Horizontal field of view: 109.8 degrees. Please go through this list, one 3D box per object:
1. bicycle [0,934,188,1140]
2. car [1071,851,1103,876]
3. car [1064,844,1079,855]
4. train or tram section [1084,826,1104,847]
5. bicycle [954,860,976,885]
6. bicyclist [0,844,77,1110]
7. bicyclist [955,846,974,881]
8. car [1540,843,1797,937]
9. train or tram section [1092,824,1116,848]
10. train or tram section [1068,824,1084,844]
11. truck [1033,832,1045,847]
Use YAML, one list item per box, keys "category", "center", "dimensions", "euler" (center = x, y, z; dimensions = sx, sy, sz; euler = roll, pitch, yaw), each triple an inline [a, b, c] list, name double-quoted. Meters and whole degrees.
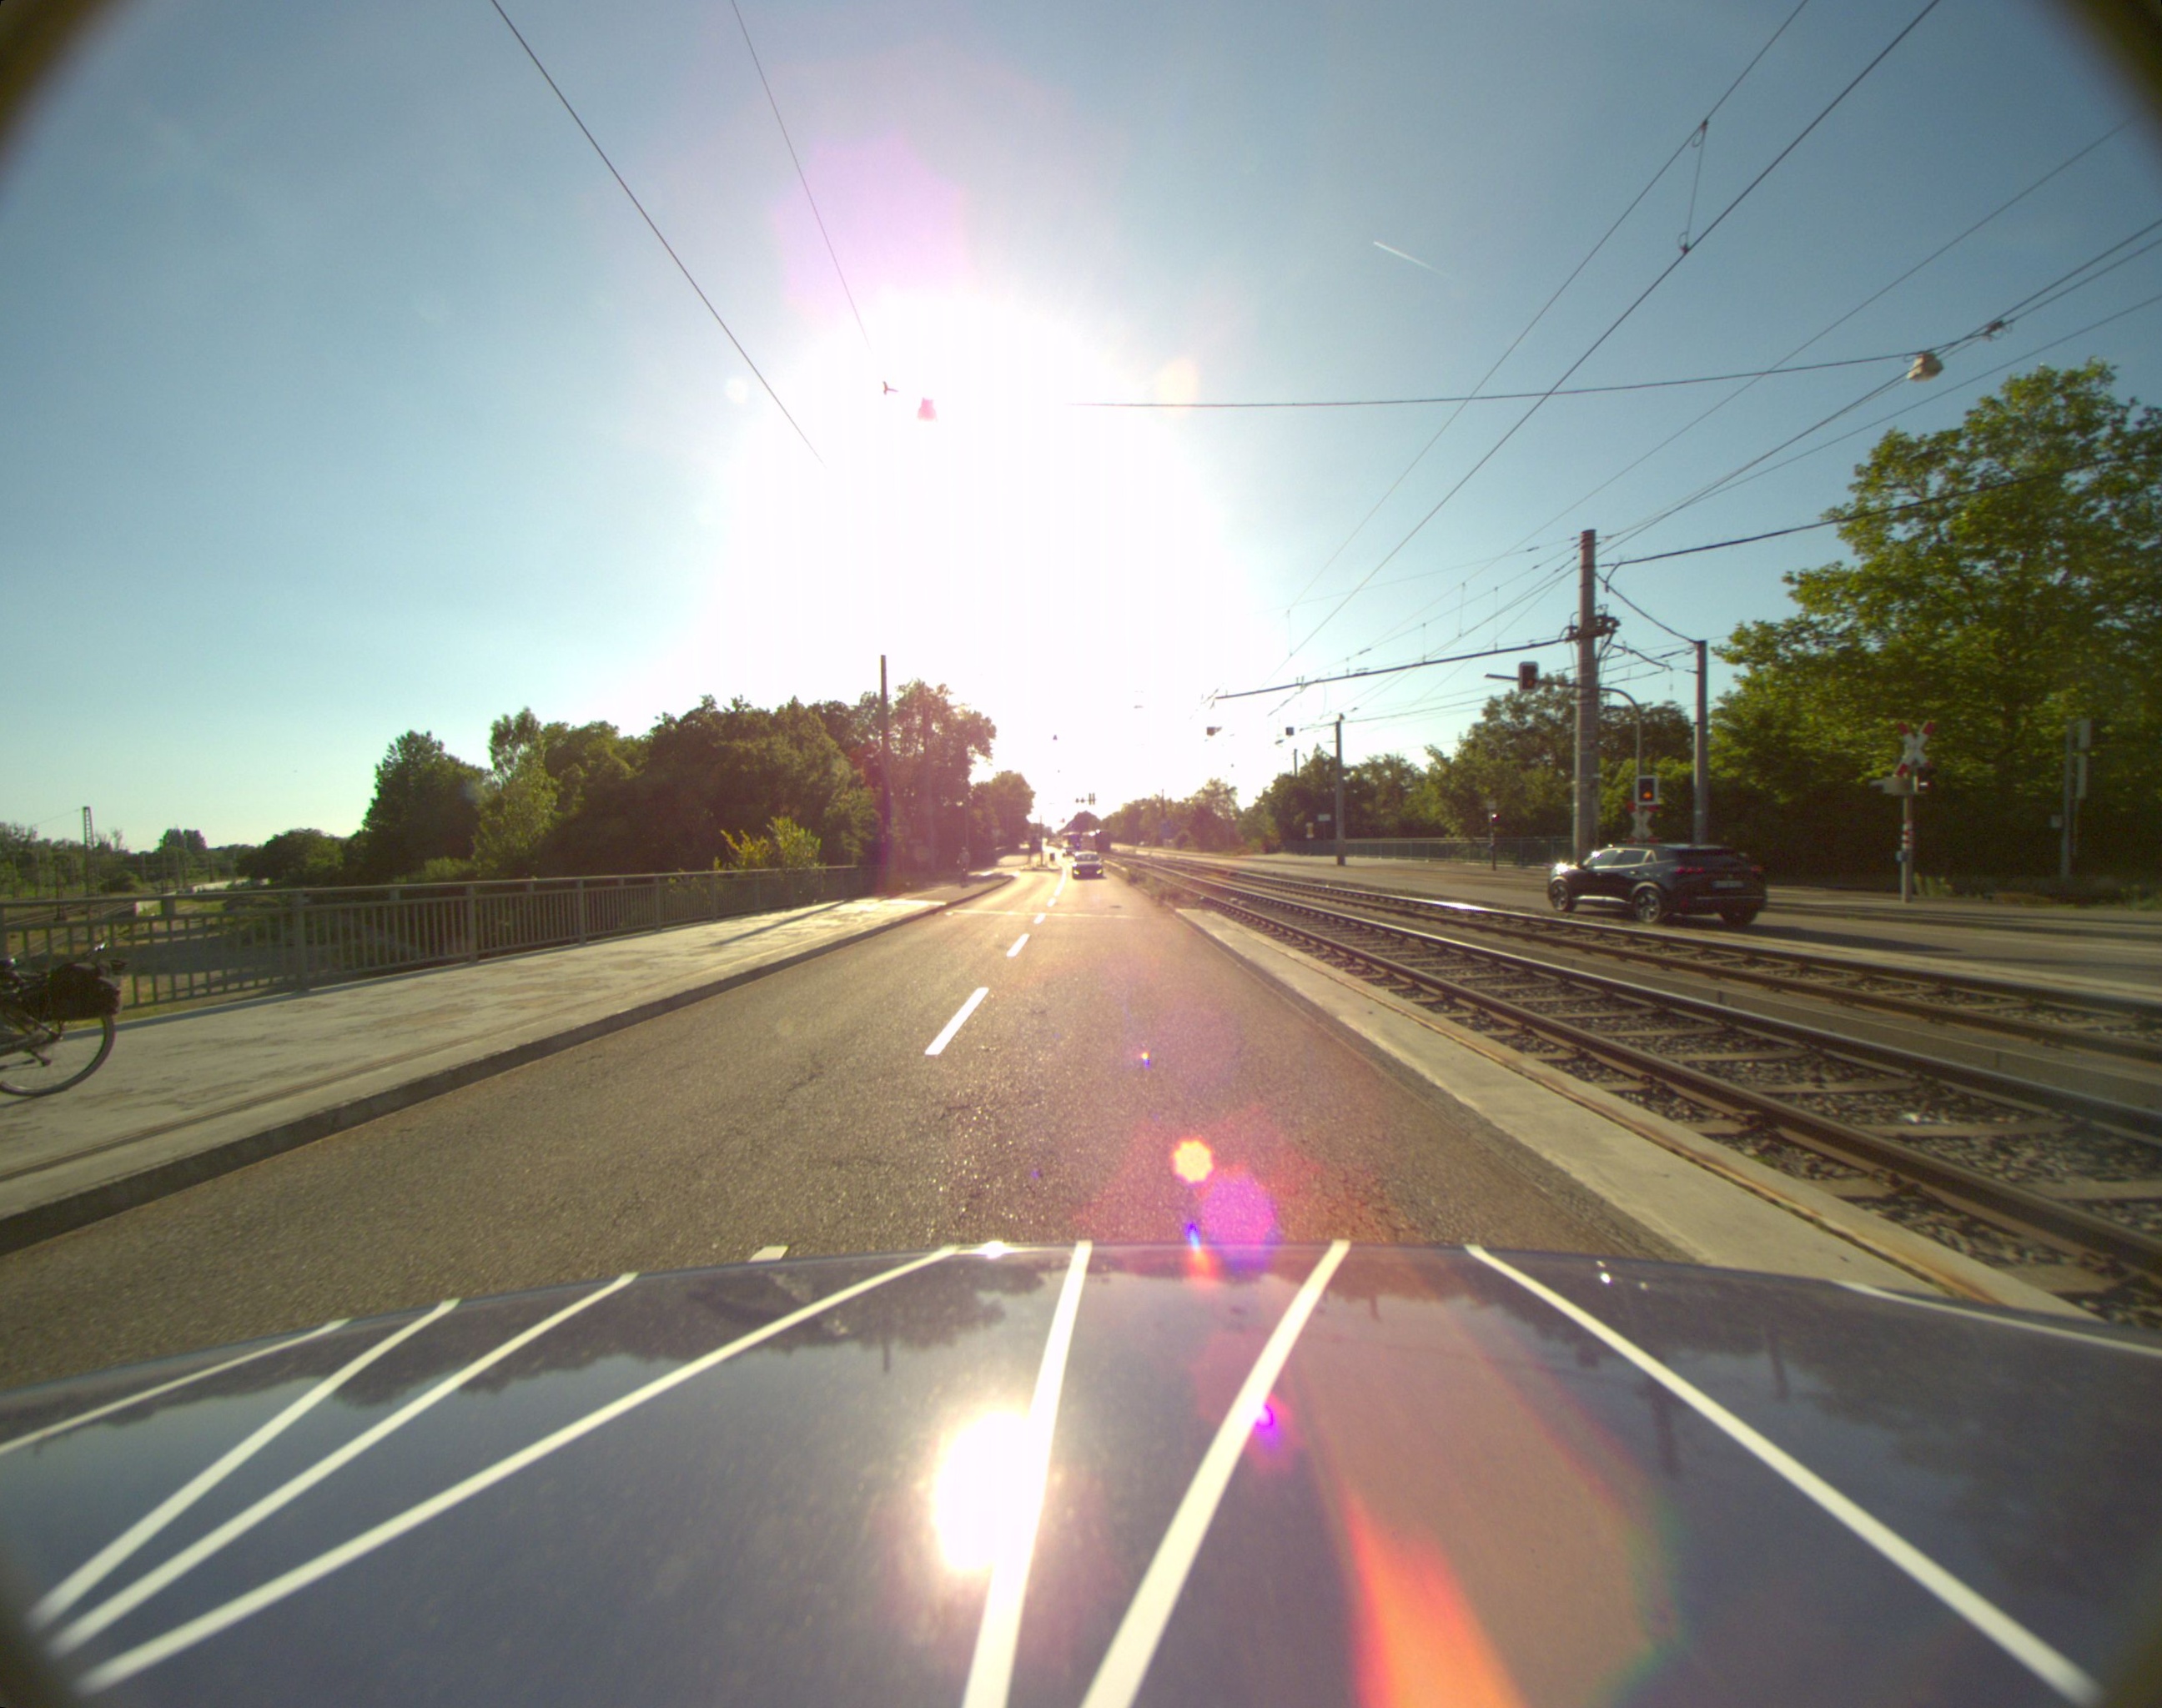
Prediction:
- category: "bicycle"
  center: [-6.729, 1.141, 4.293]
  dimensions: [0.685, 1.116, 2.216]
  euler: [-2, 0, 1]
- category: "car"
  center: [0.344, 0.521, 44.803]
  dimensions: [1.801, 1.345, 3.999]
  euler: [-1, 1, 0]
- category: "car"
  center: [-1.231, -0.633, 97.780]
  dimensions: [1.801, 1.345, 3.999]
  euler: [-1, 1, 0]
- category: "train or tram section"
  center: [2.565, -3.581, 154.162]
  dimensions: [3.012, 3.879, 13.073]
  euler: [-2, 1, -3]
- category: "bicycle"
  center: [-5.920, 0.917, 38.987]
  dimensions: [0.733, 1.116, 2.741]
  euler: [-4, 1, -2]
- category: "bicyclist"
  center: [-6.735, 0.733, 4.305]
  dimensions: [0.814, 1.553, 0.896]
  euler: [-2, 1, 1]
- category: "bicyclist"
  center: [-5.968, 0.476, 38.999]
  dimensions: [0.733, 1.680, 1.201]
  euler: [-4, 2, -2]
- category: "car"
  center: [11.226, 0.587, 14.979]
  dimensions: [1.853, 1.494, 4.218]
  euler: [-2, 1, 1]
- category: "train or tram section"
  center: [3.806, -3.034, 129.661]
  dimensions: [2.986, 3.879, 12.694]
  euler: [-2, 1, -3]
- category: "train or tram section"
  center: [-1.146, -4.083, 157.962]
  dimensions: [2.570, 3.879, 11.664]
  euler: [-2, 1, -4]
- category: "truck"
  center: [-9.234, -3.146, 166.638]
  dimensions: [2.610, 3.186, 7.865]
  euler: [-2, 1, -3]
